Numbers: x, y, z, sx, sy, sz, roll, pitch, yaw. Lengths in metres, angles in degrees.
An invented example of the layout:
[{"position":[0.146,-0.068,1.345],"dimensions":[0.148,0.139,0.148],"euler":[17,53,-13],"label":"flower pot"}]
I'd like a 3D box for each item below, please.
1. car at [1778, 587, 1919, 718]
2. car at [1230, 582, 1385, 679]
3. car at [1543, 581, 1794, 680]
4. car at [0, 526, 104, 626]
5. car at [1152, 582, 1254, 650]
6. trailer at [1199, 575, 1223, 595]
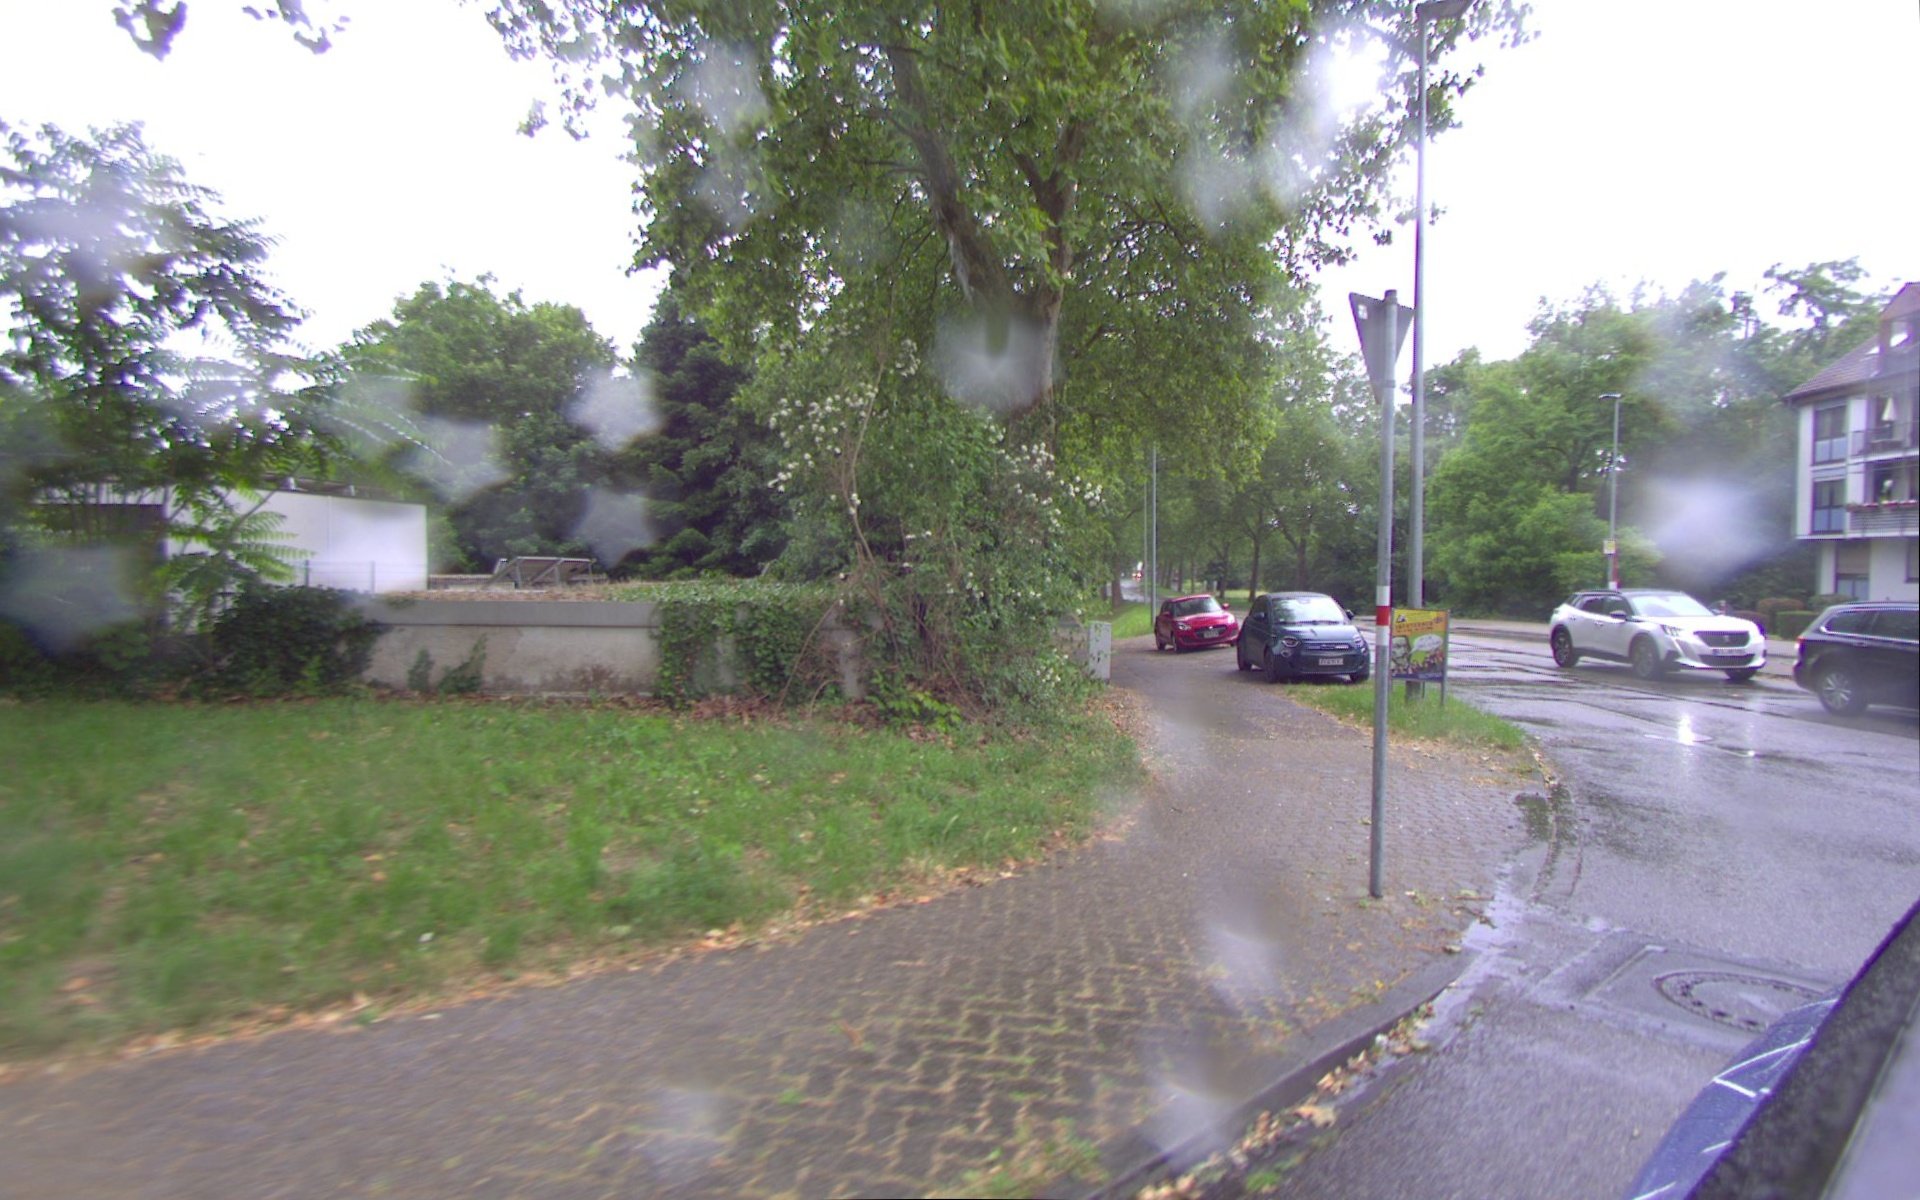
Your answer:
[{"position":[12.005,0.603,11.456],"dimensions":[1.804,1.475,4.655],"euler":[-2,0,3],"label":"car"},{"position":[6.178,0.475,18.397],"dimensions":[1.723,1.510,3.597],"euler":[-2,1,4],"label":"car"},{"position":[12.796,0.449,18.680],"dimensions":[1.726,1.555,4.364],"euler":[1,1,4],"label":"car"},{"position":[-14.971,-0.380,15.035],"dimensions":[1.465,1.489,3.427],"euler":[2,2,5],"label":"car"},{"position":[6.571,0.434,27.774],"dimensions":[1.792,1.536,3.741],"euler":[-7,-1,1],"label":"car"},{"position":[37.516,-2.247,151.576],"dimensions":[2.761,2.696,6.638],"euler":[2,2,9],"label":"trailer"}]
